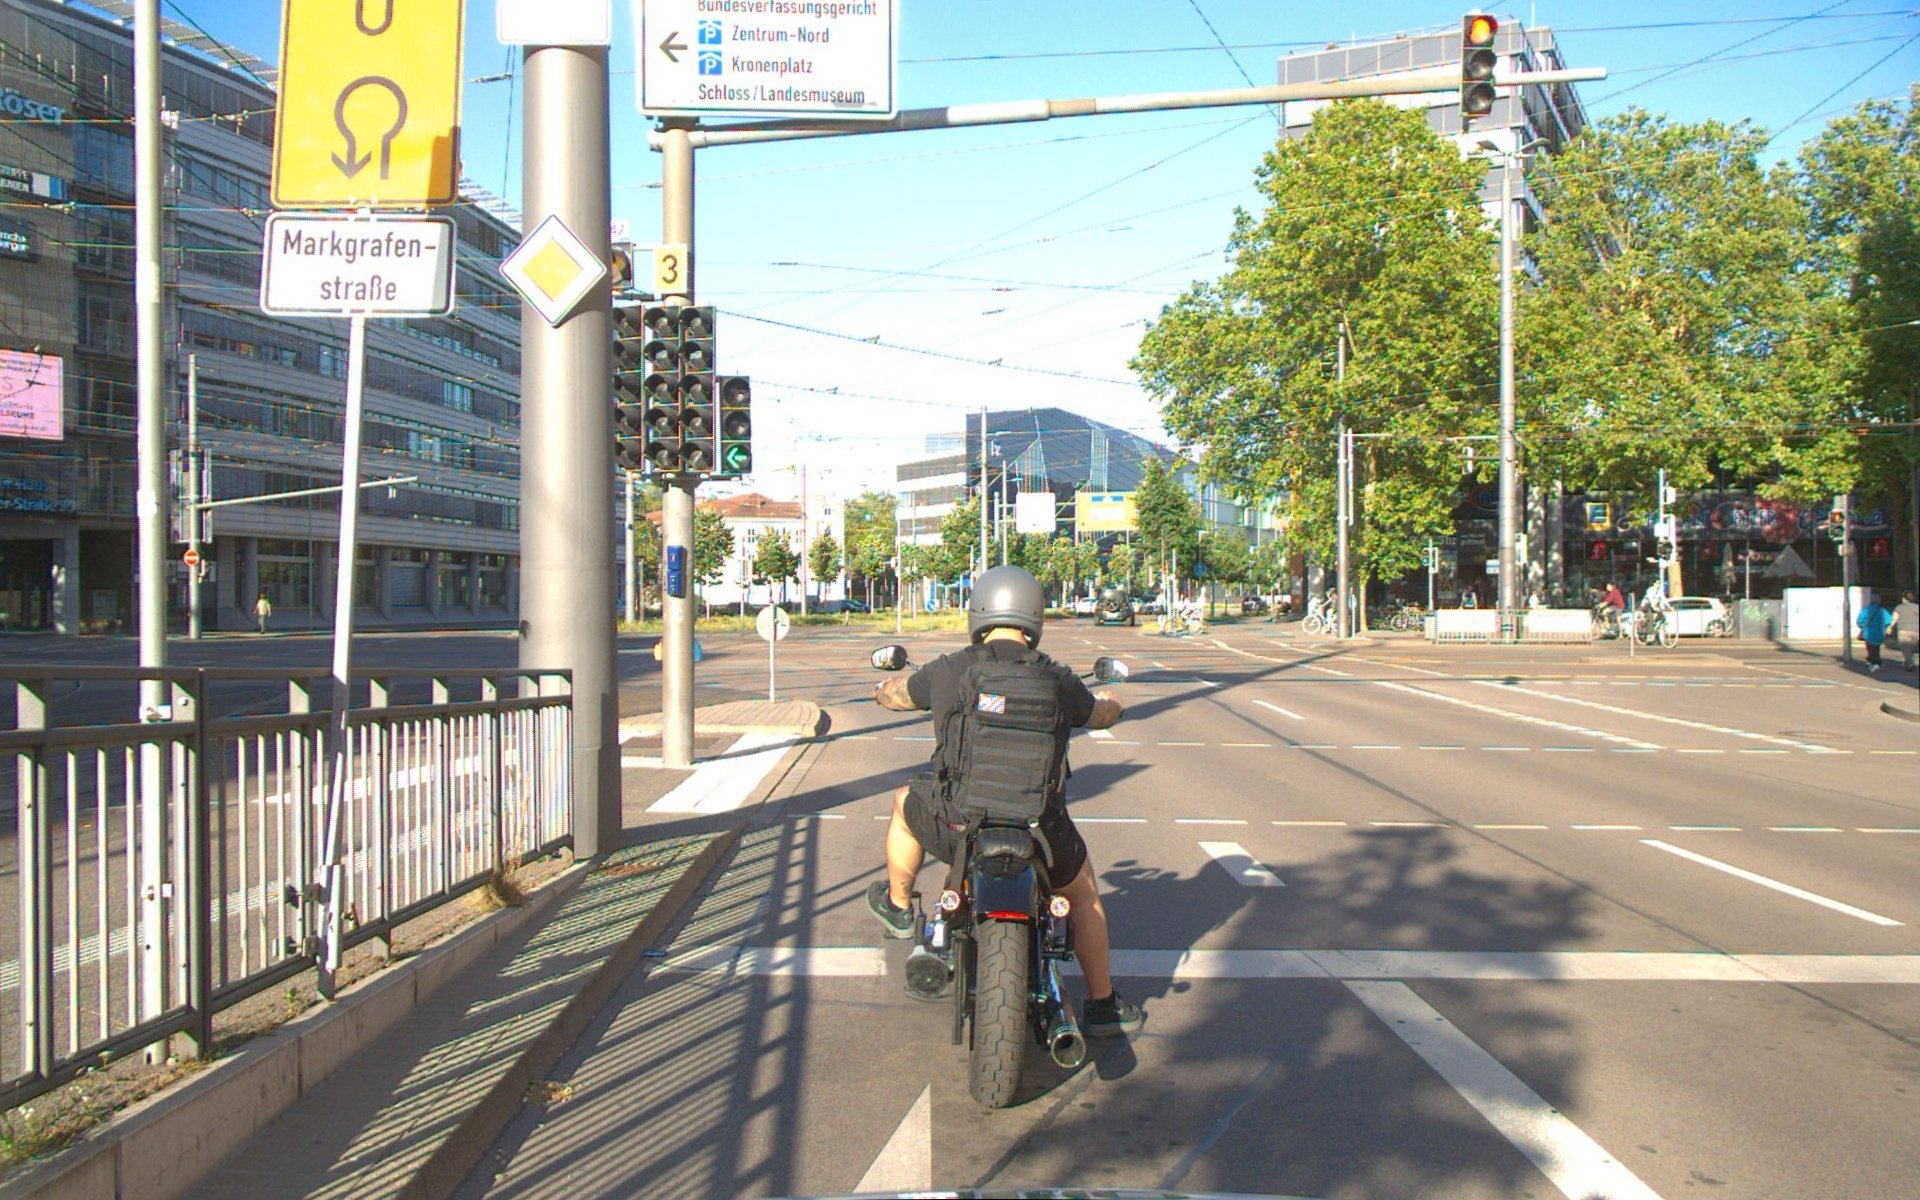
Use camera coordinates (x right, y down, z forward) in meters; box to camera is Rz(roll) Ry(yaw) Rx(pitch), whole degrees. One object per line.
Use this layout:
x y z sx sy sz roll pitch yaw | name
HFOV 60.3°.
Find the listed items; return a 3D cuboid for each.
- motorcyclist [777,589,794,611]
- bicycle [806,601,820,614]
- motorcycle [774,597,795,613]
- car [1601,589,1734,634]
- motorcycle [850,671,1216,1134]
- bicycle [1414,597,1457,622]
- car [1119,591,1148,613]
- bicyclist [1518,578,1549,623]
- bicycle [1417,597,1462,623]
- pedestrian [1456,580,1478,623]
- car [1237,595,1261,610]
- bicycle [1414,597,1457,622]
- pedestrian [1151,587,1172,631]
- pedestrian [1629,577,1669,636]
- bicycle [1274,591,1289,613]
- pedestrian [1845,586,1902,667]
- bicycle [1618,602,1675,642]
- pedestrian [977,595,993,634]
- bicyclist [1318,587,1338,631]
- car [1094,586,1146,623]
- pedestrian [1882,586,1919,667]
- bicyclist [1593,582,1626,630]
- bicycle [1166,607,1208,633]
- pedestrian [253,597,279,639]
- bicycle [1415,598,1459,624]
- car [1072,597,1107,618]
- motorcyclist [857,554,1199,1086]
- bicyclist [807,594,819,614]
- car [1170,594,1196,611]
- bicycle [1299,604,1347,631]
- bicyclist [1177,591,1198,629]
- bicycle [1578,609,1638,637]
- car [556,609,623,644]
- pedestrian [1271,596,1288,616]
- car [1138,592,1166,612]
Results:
-14.244 0.009 134.702 0.997 1.761 1.462 0 0 10 | motorcyclist
-12.768 0.618 143.582 0.629 1.127 1.686 0 0 17 | bicycle
-14.277 0.392 134.623 0.962 1.253 2.945 0 0 10 | motorcycle
25.113 0.398 58.795 3.903 1.512 2.001 1 0 4 | car
0.185 0.880 5.697 0.985 1.145 2.323 1 0 -1 | motorcycle
19.436 0.407 67.587 1.668 1.003 0.391 0 0 13 | bicycle
14.886 0.139 141.724 1.781 1.849 3.946 0 0 17 | car
25.236 0.036 72.831 1.200 1.965 0.836 0 0 12 | bicyclist
19.077 0.405 65.826 1.668 1.003 0.391 0 0 13 | bicycle
22.961 0.074 74.873 0.829 1.884 0.810 2 0 14 | pedestrian
29.401 0.224 168.252 1.803 1.490 4.001 1 0 18 | car
19.555 0.401 68.051 1.668 1.003 0.391 0 0 13 | bicycle
8.464 0.376 69.523 0.688 1.869 0.513 1 -1 35 | pedestrian
19.202 0.178 46.114 0.754 1.622 0.838 1 -1 -1 | pedestrian
21.971 0.146 113.045 0.842 1.507 2.578 0 0 14 | bicycle
18.007 0.520 32.615 0.662 1.566 0.741 1 -1 -8 | pedestrian
19.155 0.599 46.198 0.773 1.070 1.922 1 0 -1 | bicycle
1.054 0.602 69.070 0.643 1.610 0.489 0 0 3 | pedestrian
14.508 0.347 65.295 0.727 1.724 0.570 -1 -1 10 | bicyclist
8.648 0.269 89.145 2.010 1.906 4.229 1 0 17 | car
18.842 0.523 32.795 0.638 1.566 0.741 1 -1 -8 | pedestrian
22.340 0.202 56.871 0.906 1.643 0.638 0 0 3 | bicyclist
9.234 0.830 67.281 1.594 1.039 0.516 -1 -1 23 | bicycle
-31.183 0.808 74.341 0.660 1.855 0.886 -2 -1 12 | pedestrian
19.229 0.442 66.674 1.668 1.003 0.391 0 0 13 | bicycle
9.752 0.573 124.260 1.861 1.534 4.003 1 0 15 | car
0.197 0.658 5.604 1.001 1.579 1.286 1 0 -1 | motorcyclist
-12.742 0.356 143.558 0.747 1.696 0.994 0 0 16 | bicyclist
21.360 0.222 158.169 1.685 1.510 3.754 0 0 21 | car
14.337 0.700 65.345 1.813 1.039 0.517 -1 -1 11 | bicycle
9.256 0.407 67.284 0.727 1.529 0.570 -1 -1 23 | bicyclist
22.296 0.793 56.900 1.814 0.926 0.652 0 0 3 | bicycle
-17.503 1.221 78.292 1.753 1.491 4.314 -1 1 6 | car
17.547 0.315 90.930 0.768 1.075 0.814 0 0 22 | pedestrian
17.320 0.166 148.918 1.684 1.686 3.755 0 0 19 | car
